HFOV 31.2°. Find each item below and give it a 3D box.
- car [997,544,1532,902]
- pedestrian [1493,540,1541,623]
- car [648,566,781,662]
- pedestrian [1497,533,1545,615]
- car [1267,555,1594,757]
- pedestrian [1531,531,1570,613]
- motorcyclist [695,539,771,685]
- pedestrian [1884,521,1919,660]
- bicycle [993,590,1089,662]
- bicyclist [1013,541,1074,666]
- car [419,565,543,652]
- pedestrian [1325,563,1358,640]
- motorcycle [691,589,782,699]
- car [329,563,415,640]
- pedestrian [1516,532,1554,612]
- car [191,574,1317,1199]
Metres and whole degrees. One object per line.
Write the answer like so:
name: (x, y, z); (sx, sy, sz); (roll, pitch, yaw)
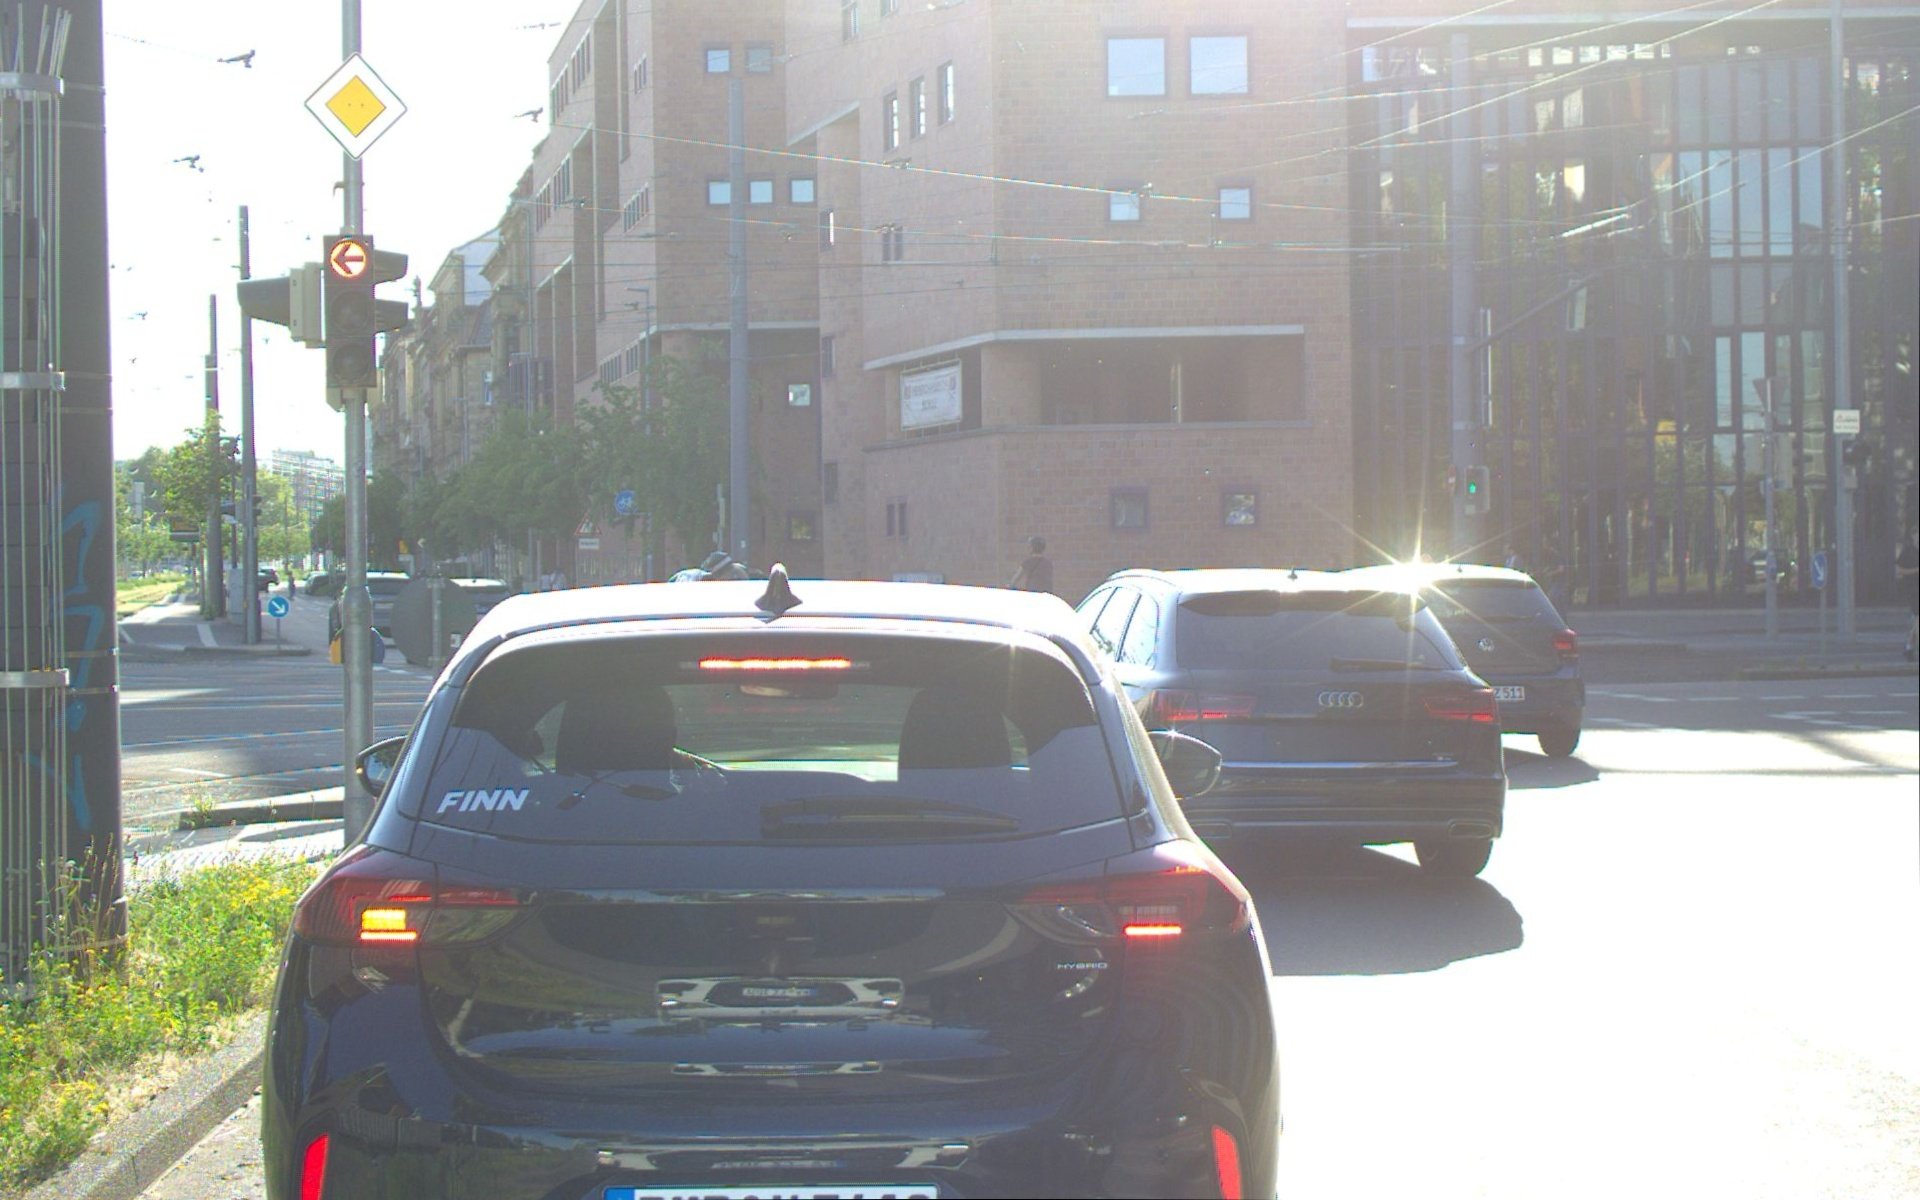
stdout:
car: (1.349, 0.504, 17.113); (1.811, 1.487, 4.497); (-2, 1, -6)
pedestrian: (10.956, -0.375, 67.639); (0.900, 1.611, 0.560); (-1, 1, 8)
car: (-3.977, 0.194, 55.138); (1.807, 1.452, 4.001); (0, 1, -9)
pedestrian: (11.134, -0.514, 68.230); (0.900, 1.611, 0.560); (-1, 1, 8)
car: (3.625, 0.385, 27.183); (1.807, 1.452, 4.001); (0, 1, -3)
pedestrian: (11.843, -0.563, 68.979); (0.738, 1.611, 0.560); (-1, 1, 8)
motorcyclist: (-2.432, 0.116, 36.739); (0.744, 1.525, 1.021); (-1, 1, -6)
pedestrian: (12.206, -0.125, 43.837); (0.707, 1.753, 0.560); (-1, 1, 25)
bicycle: (1.161, 0.363, 50.068); (0.491, 0.994, 2.328); (-1, 1, -22)
bicyclist: (1.205, 0.044, 49.873); (0.577, 1.785, 0.864); (-1, 1, -21)
car: (-7.946, 0.115, 56.818); (1.737, 1.345, 4.001); (-1, 1, -12)
pedestrian: (7.180, 0.026, 64.674); (0.529, 1.425, 0.598); (-1, 1, -1)
motorcycle: (-2.410, 0.458, 36.836); (0.775, 1.111, 1.970); (-1, 1, -9)
car: (-13.092, 0.003, 76.456); (1.737, 1.645, 4.001); (-1, 1, -12)
pedestrian: (11.692, -0.573, 69.900); (0.738, 1.611, 0.560); (-1, 1, 8)
car: (-0.278, 0.682, 7.065); (1.649, 1.428, 4.000); (-1, 1, 1)
